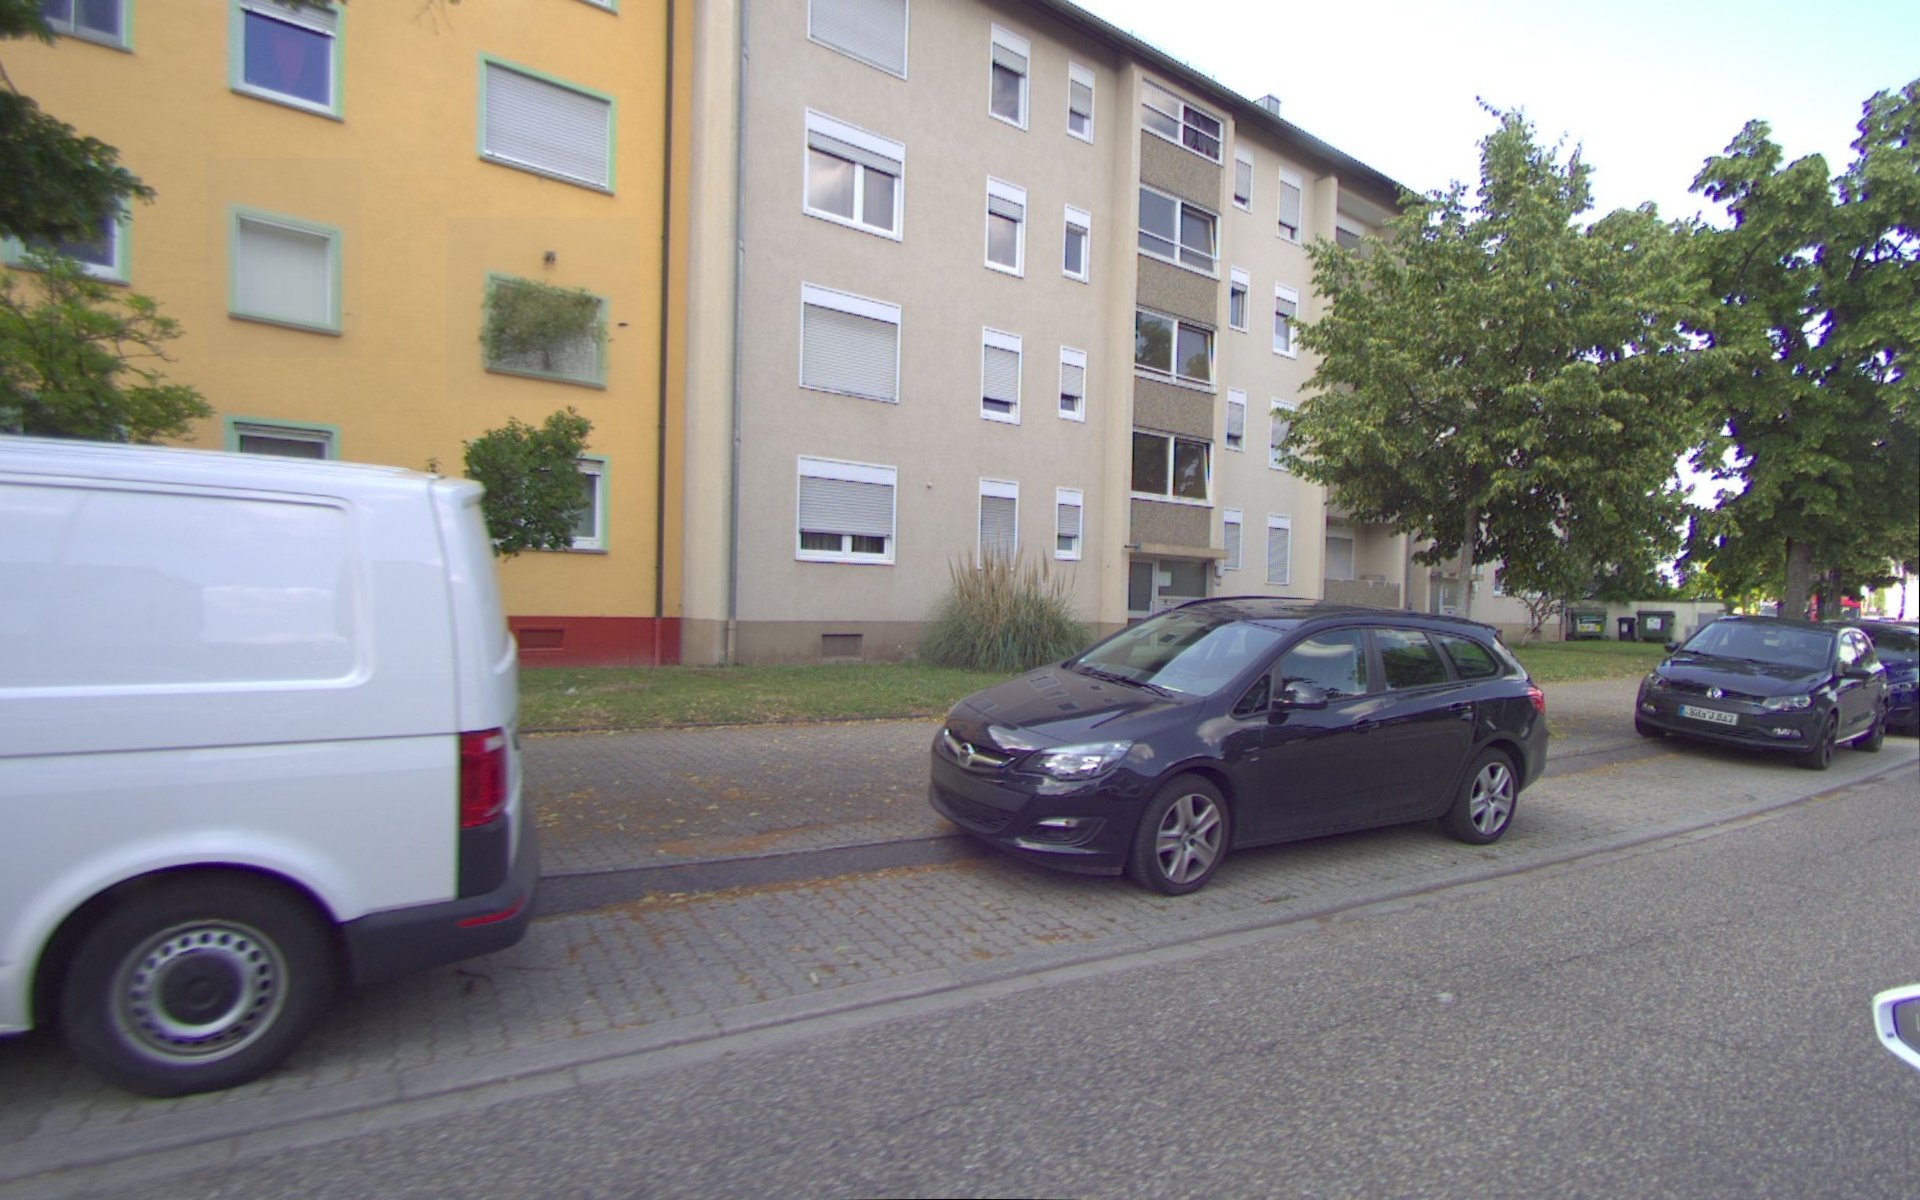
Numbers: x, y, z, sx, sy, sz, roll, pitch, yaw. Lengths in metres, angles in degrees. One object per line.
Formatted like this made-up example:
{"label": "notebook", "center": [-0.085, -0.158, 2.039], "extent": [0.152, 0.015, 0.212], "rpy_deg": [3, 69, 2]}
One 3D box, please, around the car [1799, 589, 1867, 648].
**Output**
{"label": "car", "center": [42.680, 0.865, 49.212], "extent": [2.038, 2.534, 5.815], "rpy_deg": [7, 4, 38]}

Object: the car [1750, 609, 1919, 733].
{"label": "car", "center": [13.586, 0.992, 15.111], "extent": [4.534, 1.509, 1.745], "rpy_deg": [2, 2, -41]}

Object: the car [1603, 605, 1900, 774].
{"label": "car", "center": [9.099, 0.876, 11.448], "extent": [3.998, 1.509, 1.746], "rpy_deg": [1, 3, -39]}

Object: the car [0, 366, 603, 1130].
{"label": "car", "center": [-3.955, 0.373, 3.027], "extent": [5.252, 2.036, 1.873], "rpy_deg": [1, 0, -26]}

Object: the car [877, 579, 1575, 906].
{"label": "car", "center": [1.854, 0.689, 6.542], "extent": [4.451, 1.509, 1.752], "rpy_deg": [1, 1, -30]}

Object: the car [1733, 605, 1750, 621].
{"label": "car", "center": [115.316, 1.867, 148.228], "extent": [1.763, 2.282, 4.757], "rpy_deg": [1, 0, 35]}

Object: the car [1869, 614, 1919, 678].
{"label": "car", "center": [25.207, 1.178, 26.471], "extent": [1.740, 1.509, 4.320], "rpy_deg": [4, 3, 42]}

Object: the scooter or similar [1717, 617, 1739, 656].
{"label": "scooter or similar", "center": [24.043, 1.132, 31.454], "extent": [0.414, 1.181, 1.134], "rpy_deg": [4, 2, 41]}

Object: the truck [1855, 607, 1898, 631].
{"label": "truck", "center": [94.358, 1.899, 103.532], "extent": [2.535, 2.290, 6.511], "rpy_deg": [2, 1, 36]}

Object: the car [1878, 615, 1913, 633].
{"label": "car", "center": [84.943, 2.129, 91.218], "extent": [1.771, 1.544, 4.515], "rpy_deg": [2, 1, 36]}

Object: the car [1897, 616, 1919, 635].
{"label": "car", "center": [79.300, 2.114, 83.250], "extent": [1.771, 1.544, 4.515], "rpy_deg": [2, 1, 36]}

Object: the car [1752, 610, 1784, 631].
{"label": "car", "center": [72.851, 1.816, 90.571], "extent": [1.763, 1.622, 4.421], "rpy_deg": [7, 3, 35]}

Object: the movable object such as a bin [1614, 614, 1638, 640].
{"label": "movable object such as a bin", "center": [27.918, 1.119, 42.109], "extent": [0.871, 1.038, 0.619], "rpy_deg": [-4, 3, -41]}

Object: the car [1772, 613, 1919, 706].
{"label": "car", "center": [17.295, 1.069, 19.263], "extent": [4.057, 1.458, 1.822], "rpy_deg": [1, 3, -39]}

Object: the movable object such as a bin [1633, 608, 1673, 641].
{"label": "movable object such as a bin", "center": [28.531, 1.002, 41.382], "extent": [0.871, 1.292, 1.182], "rpy_deg": [-4, 3, -40]}

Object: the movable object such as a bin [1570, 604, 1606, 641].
{"label": "movable object such as a bin", "center": [26.741, 0.948, 42.772], "extent": [1.181, 1.458, 1.365], "rpy_deg": [0, 3, 38]}
